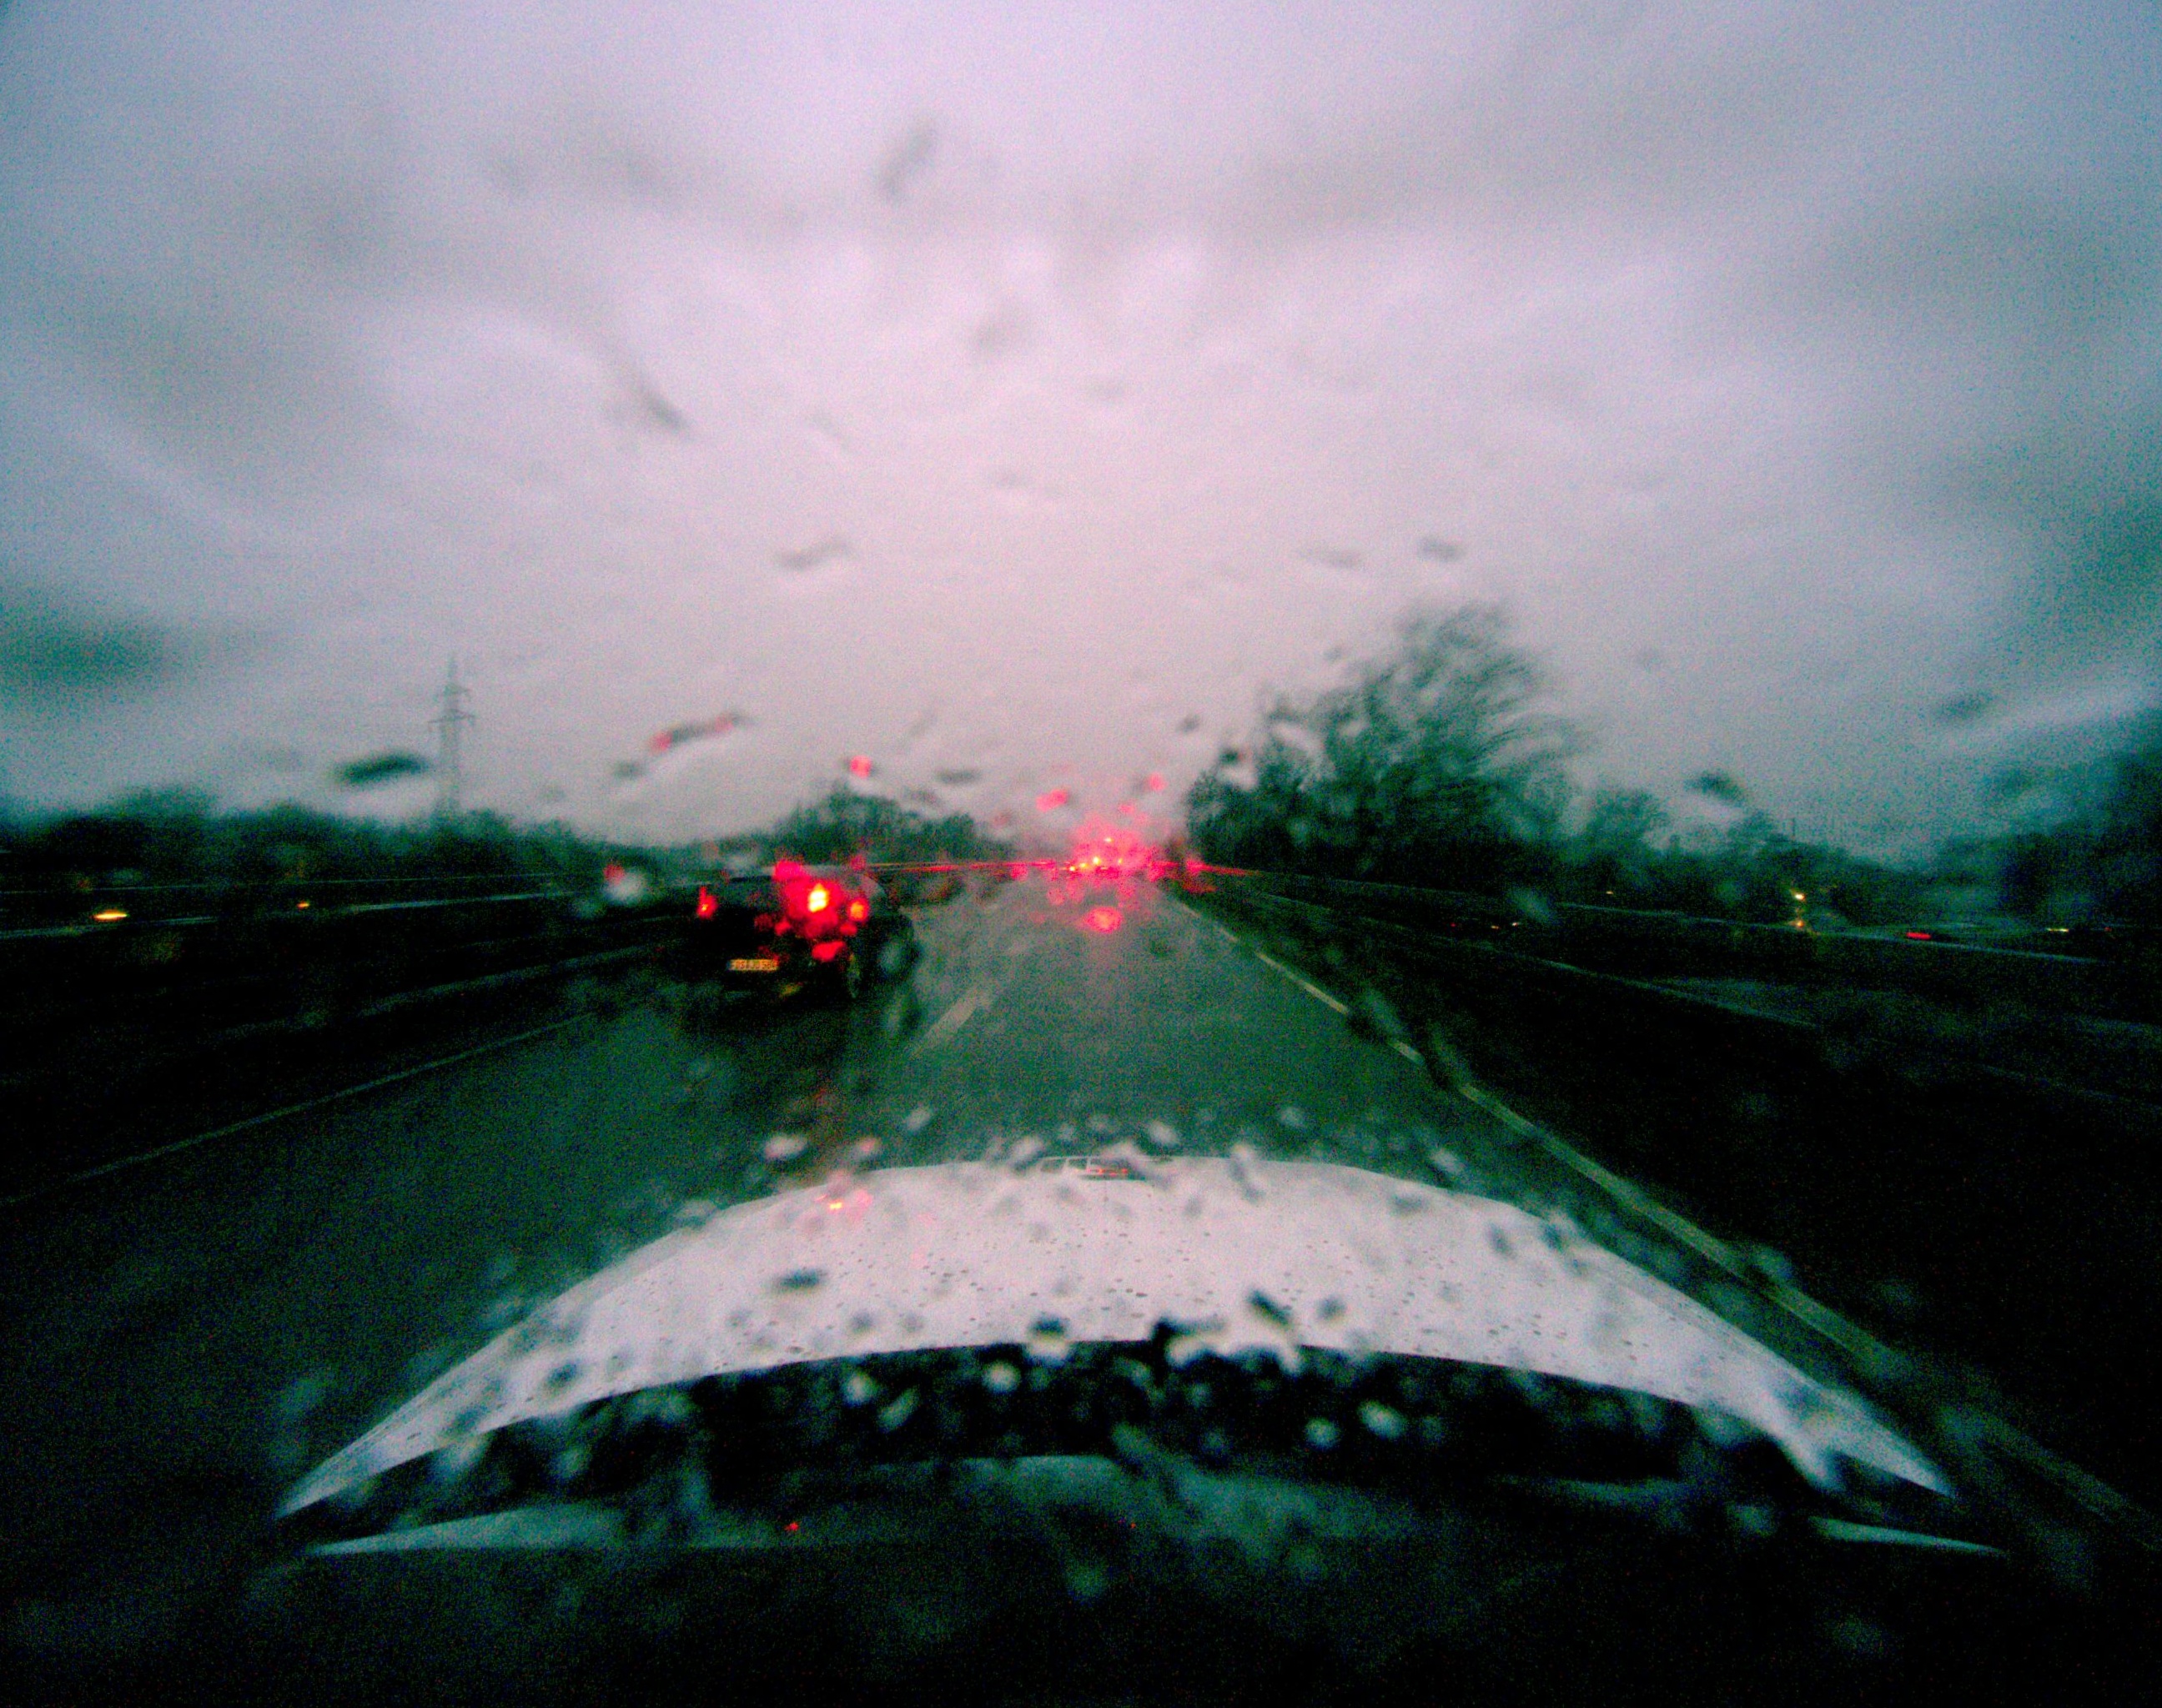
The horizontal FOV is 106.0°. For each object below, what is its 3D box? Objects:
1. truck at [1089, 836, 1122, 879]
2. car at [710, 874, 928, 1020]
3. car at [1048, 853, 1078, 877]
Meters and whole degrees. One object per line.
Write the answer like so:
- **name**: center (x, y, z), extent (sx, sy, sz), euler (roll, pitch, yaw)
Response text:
- **truck**: center (1.883, 0.327, 62.394), extent (2.374, 2.909, 4.674), euler (-1, -4, 2)
- **car**: center (-3.047, 1.019, 10.327), extent (1.622, 1.392, 3.994), euler (-3, -2, -4)
- **car**: center (-1.221, 0.786, 55.829), extent (1.828, 1.538, 4.001), euler (0, -2, 2)
